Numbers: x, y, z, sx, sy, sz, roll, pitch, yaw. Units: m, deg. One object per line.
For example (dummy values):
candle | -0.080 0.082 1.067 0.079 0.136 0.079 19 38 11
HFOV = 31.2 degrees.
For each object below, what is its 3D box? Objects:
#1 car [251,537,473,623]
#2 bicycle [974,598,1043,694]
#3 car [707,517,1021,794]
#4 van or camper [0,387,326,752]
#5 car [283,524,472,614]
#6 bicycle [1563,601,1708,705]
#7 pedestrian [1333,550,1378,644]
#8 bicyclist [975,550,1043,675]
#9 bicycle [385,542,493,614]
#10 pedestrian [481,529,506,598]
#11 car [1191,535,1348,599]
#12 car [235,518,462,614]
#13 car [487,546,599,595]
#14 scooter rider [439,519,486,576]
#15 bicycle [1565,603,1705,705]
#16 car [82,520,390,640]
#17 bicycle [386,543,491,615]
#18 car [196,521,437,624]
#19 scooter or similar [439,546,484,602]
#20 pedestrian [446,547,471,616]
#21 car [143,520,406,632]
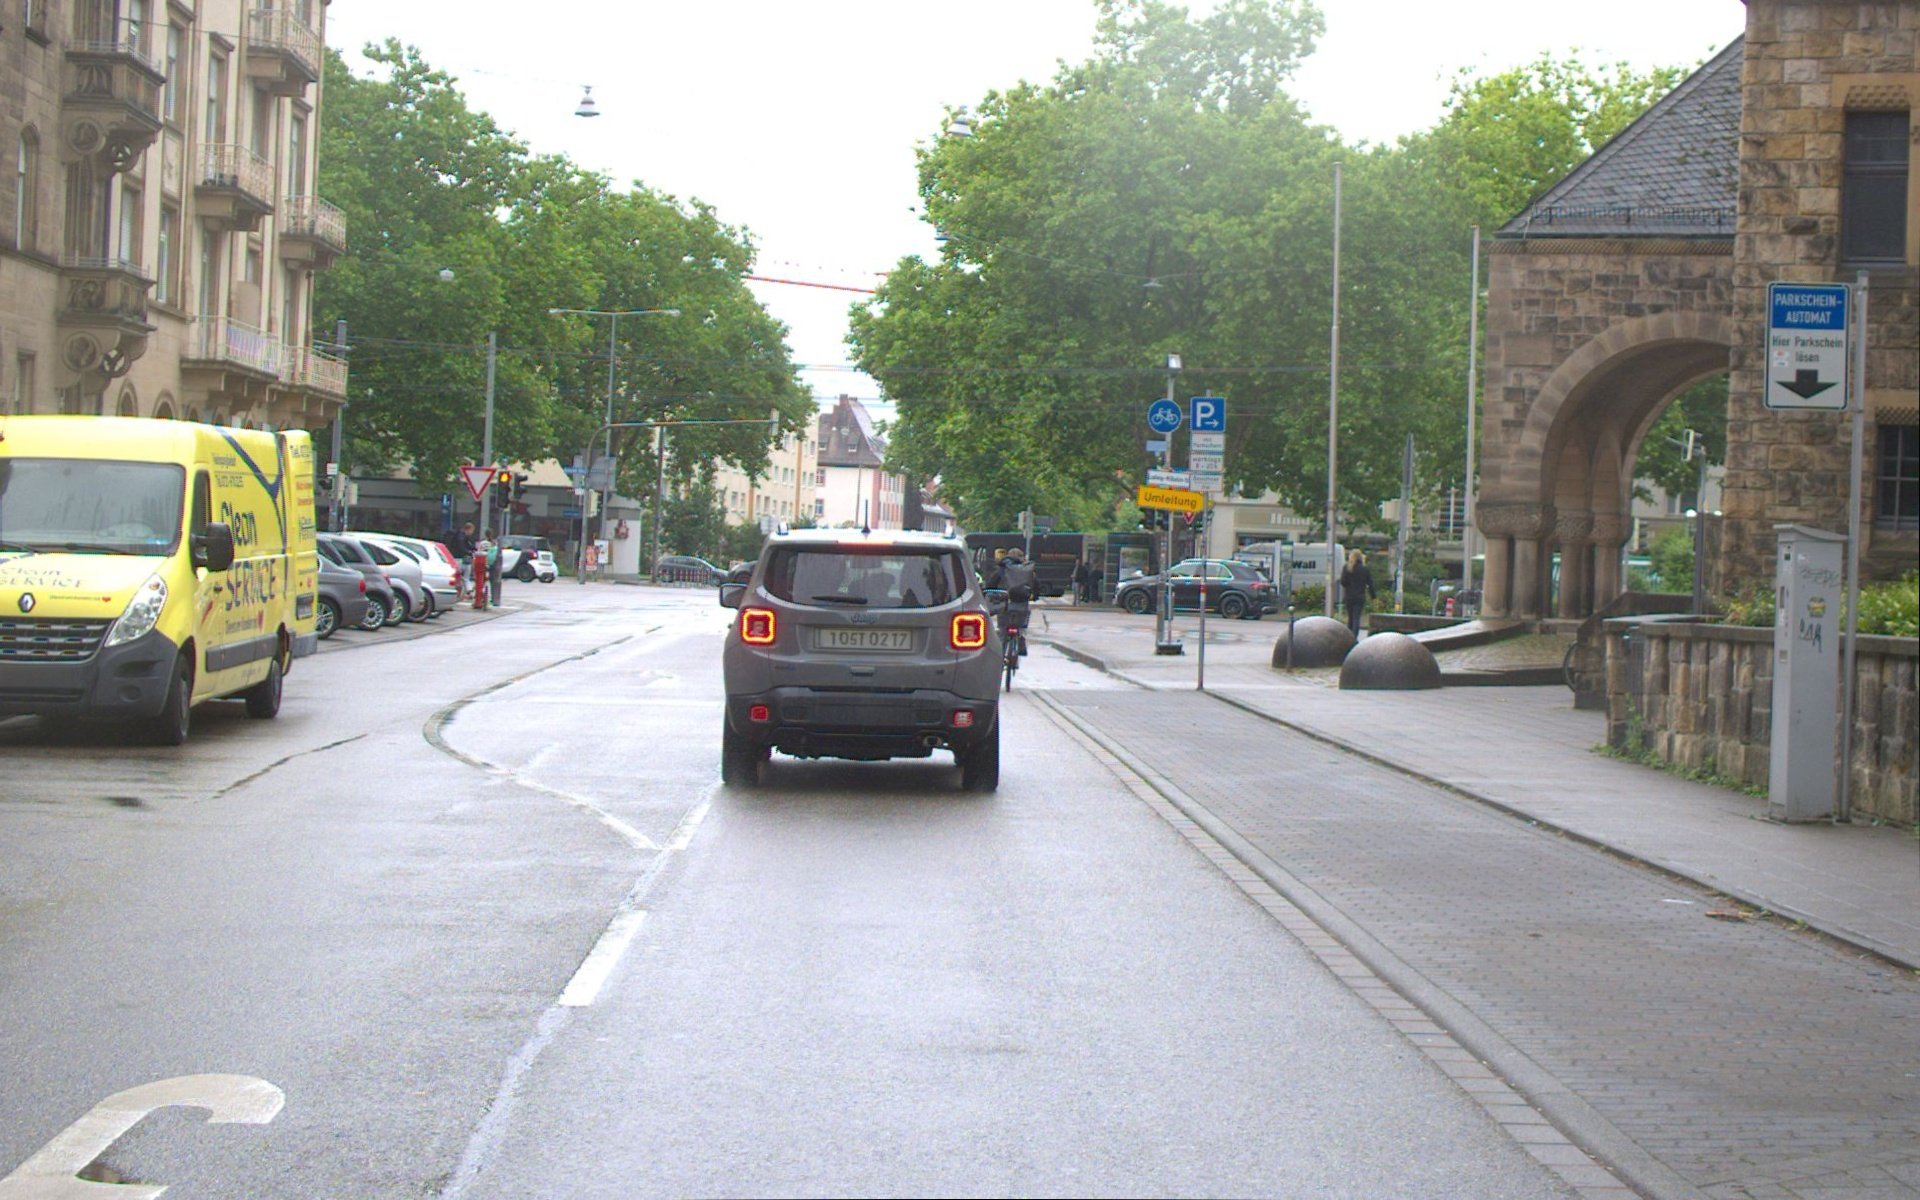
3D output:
car | -10.711 -0.357 61.599 3.413 1.311 1.779 3 0 -35
bicycle | 0.550 0.518 39.696 0.705 1.050 1.813 1 1 -1
car | -0.695 0.321 23.533 1.898 1.665 4.506 2 0 -3
van or camper | -6.677 -0.135 27.454 2.121 2.522 6.875 -1 -1 -2
car | -11.427 -0.600 67.510 3.245 1.553 1.535 3 0 -35
bicycle | 7.548 0.588 38.427 1.524 1.098 0.363 2 1 19
pedestrian | 7.323 -0.060 63.718 0.690 1.705 0.684 1 1 -1
bicyclist | 0.562 0.135 39.692 0.705 1.399 1.171 1 1 -1
bicycle | -10.758 -0.453 71.019 2.109 1.439 0.539 1 1 -21
pedestrian | -10.939 -0.858 80.669 0.467 1.580 0.752 2 1 -2
car | 12.016 -1.279 133.674 5.904 2.326 2.059 1 1 2
car | -11.413 -0.624 64.205 3.730 1.553 1.672 3 0 -35
car | -13.432 -0.941 110.731 3.190 1.495 1.541 1 1 16
scooter rider | -11.180 -1.184 77.334 0.880 1.216 0.984 2 -1 -1
bicycle | 7.618 0.599 38.837 1.488 1.098 0.363 2 1 19
car | -10.421 -0.282 49.618 3.843 1.474 1.885 3 0 -42
bicycle | -10.927 -0.438 72.009 2.092 1.439 0.491 1 1 -21
car | -10.938 -0.463 58.479 3.496 1.513 1.885 3 0 -35
scooter or similar | -11.205 -0.576 77.310 0.851 1.208 0.986 1 -1 -1
pedestrian | -11.689 -0.441 80.205 0.467 1.580 0.659 2 1 -2
car | -11.006 -0.384 55.279 3.654 1.553 1.808 3 0 -38
